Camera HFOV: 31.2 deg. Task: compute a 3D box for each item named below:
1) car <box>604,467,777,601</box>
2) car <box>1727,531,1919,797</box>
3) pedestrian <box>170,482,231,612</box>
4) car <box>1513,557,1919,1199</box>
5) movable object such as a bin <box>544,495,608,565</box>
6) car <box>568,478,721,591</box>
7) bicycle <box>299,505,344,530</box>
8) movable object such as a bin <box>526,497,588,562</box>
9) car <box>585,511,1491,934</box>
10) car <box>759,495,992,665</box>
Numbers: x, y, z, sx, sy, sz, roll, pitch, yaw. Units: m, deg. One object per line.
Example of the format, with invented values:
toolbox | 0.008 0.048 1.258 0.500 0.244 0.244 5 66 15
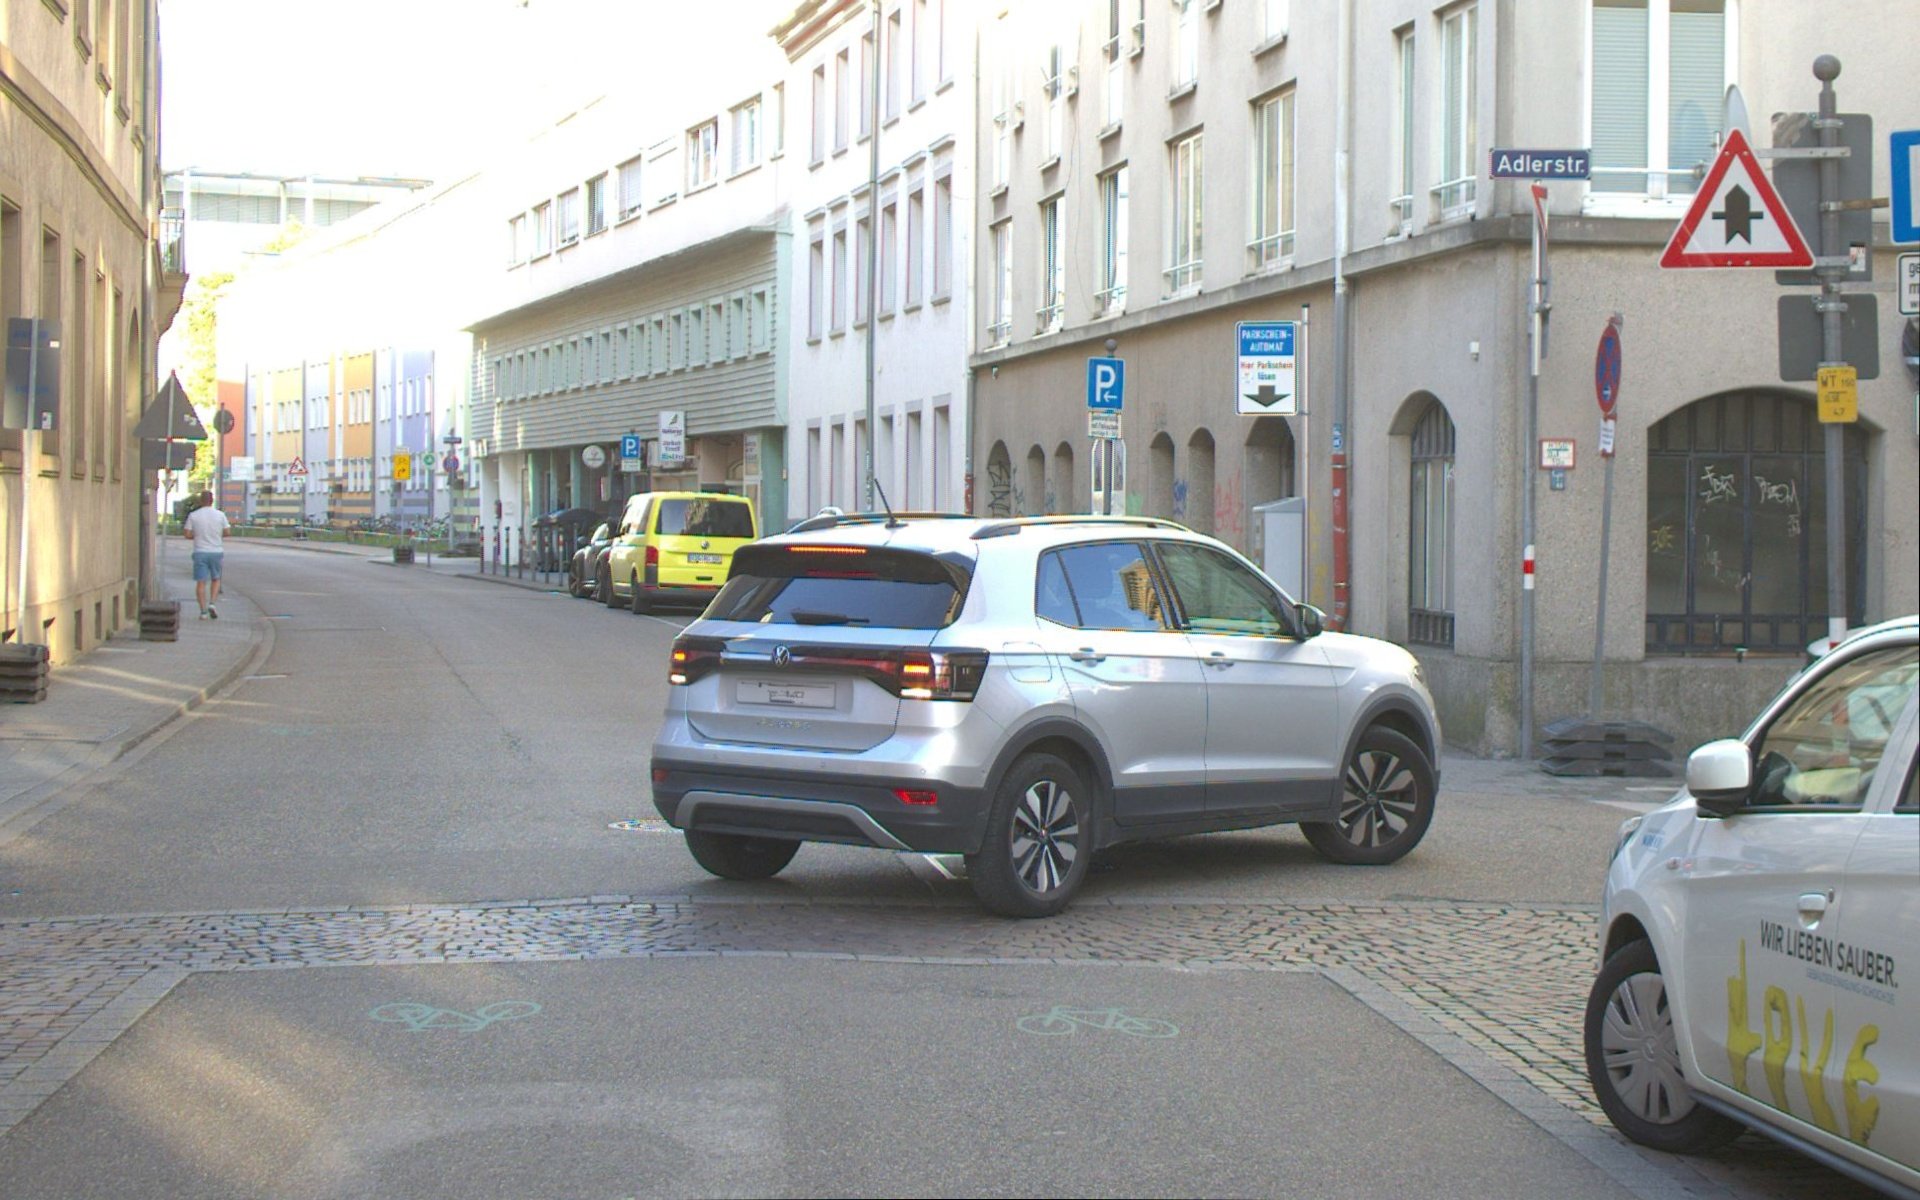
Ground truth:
car | -4.284 -1.058 54.047 2.052 2.006 4.176 0 2 -14
car | 7.152 0.399 21.443 4.215 1.547 1.902 1 2 -3
pedestrian | -10.171 -0.713 46.027 0.765 1.718 0.687 1 1 -15
car | 2.740 0.712 7.804 1.888 1.513 4.064 1 2 -6
movable object such as a bin | -8.736 -1.603 78.182 1.131 1.552 1.740 0 2 -17
car | -5.534 -1.165 59.807 2.052 1.866 4.102 0 2 -14
bicycle | -26.430 -3.411 142.234 1.780 0.997 0.547 1 1 -15
movable object such as a bin | -9.368 -1.635 79.872 1.131 1.474 1.740 0 2 -17
car | 0.460 0.404 14.933 1.841 1.556 3.991 2 2 40
car | -0.987 -0.267 37.661 1.967 1.686 4.102 2 2 -9
